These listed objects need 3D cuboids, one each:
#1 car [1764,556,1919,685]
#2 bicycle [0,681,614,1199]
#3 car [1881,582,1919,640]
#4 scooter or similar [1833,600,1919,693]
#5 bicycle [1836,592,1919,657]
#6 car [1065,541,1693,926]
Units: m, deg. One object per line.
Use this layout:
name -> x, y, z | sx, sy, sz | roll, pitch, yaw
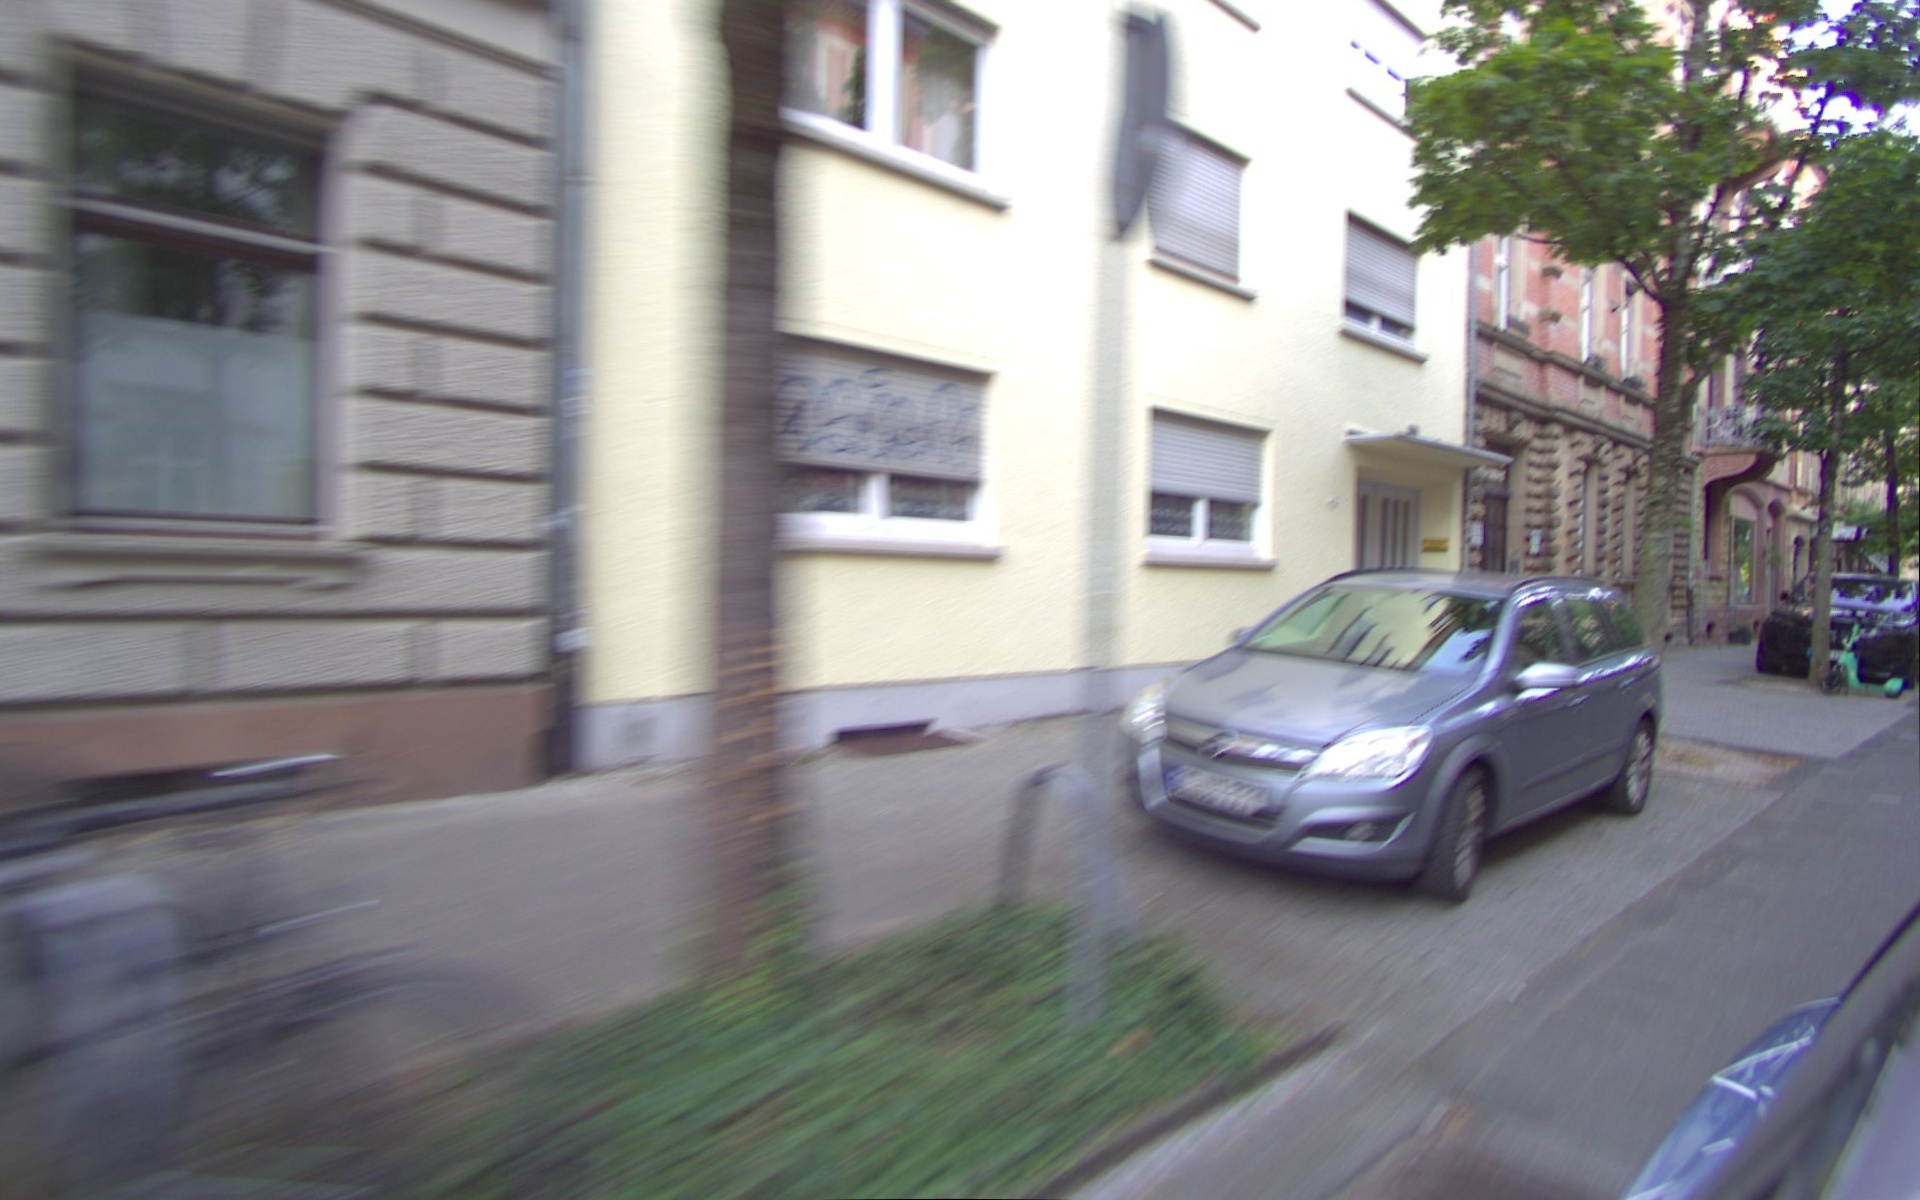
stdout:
car -> 15.589, 0.277, 17.312 | 4.727, 1.855, 2.018 | 0, 4, -42
bicycle -> -1.567, 0.735, 1.860 | 1.904, 0.994, 0.632 | 2, 1, 28
car -> 28.725, 0.384, 29.261 | 1.769, 1.618, 2.805 | 0, 5, -40
scooter or similar -> 13.091, 0.647, 14.146 | 1.094, 1.204, 0.676 | 2, 3, -1
bicycle -> 20.907, 0.545, 22.678 | 0.788, 1.309, 1.765 | 0, 4, -41
car -> 2.703, 0.473, 5.962 | 4.234, 1.481, 1.761 | 0, 2, -42
